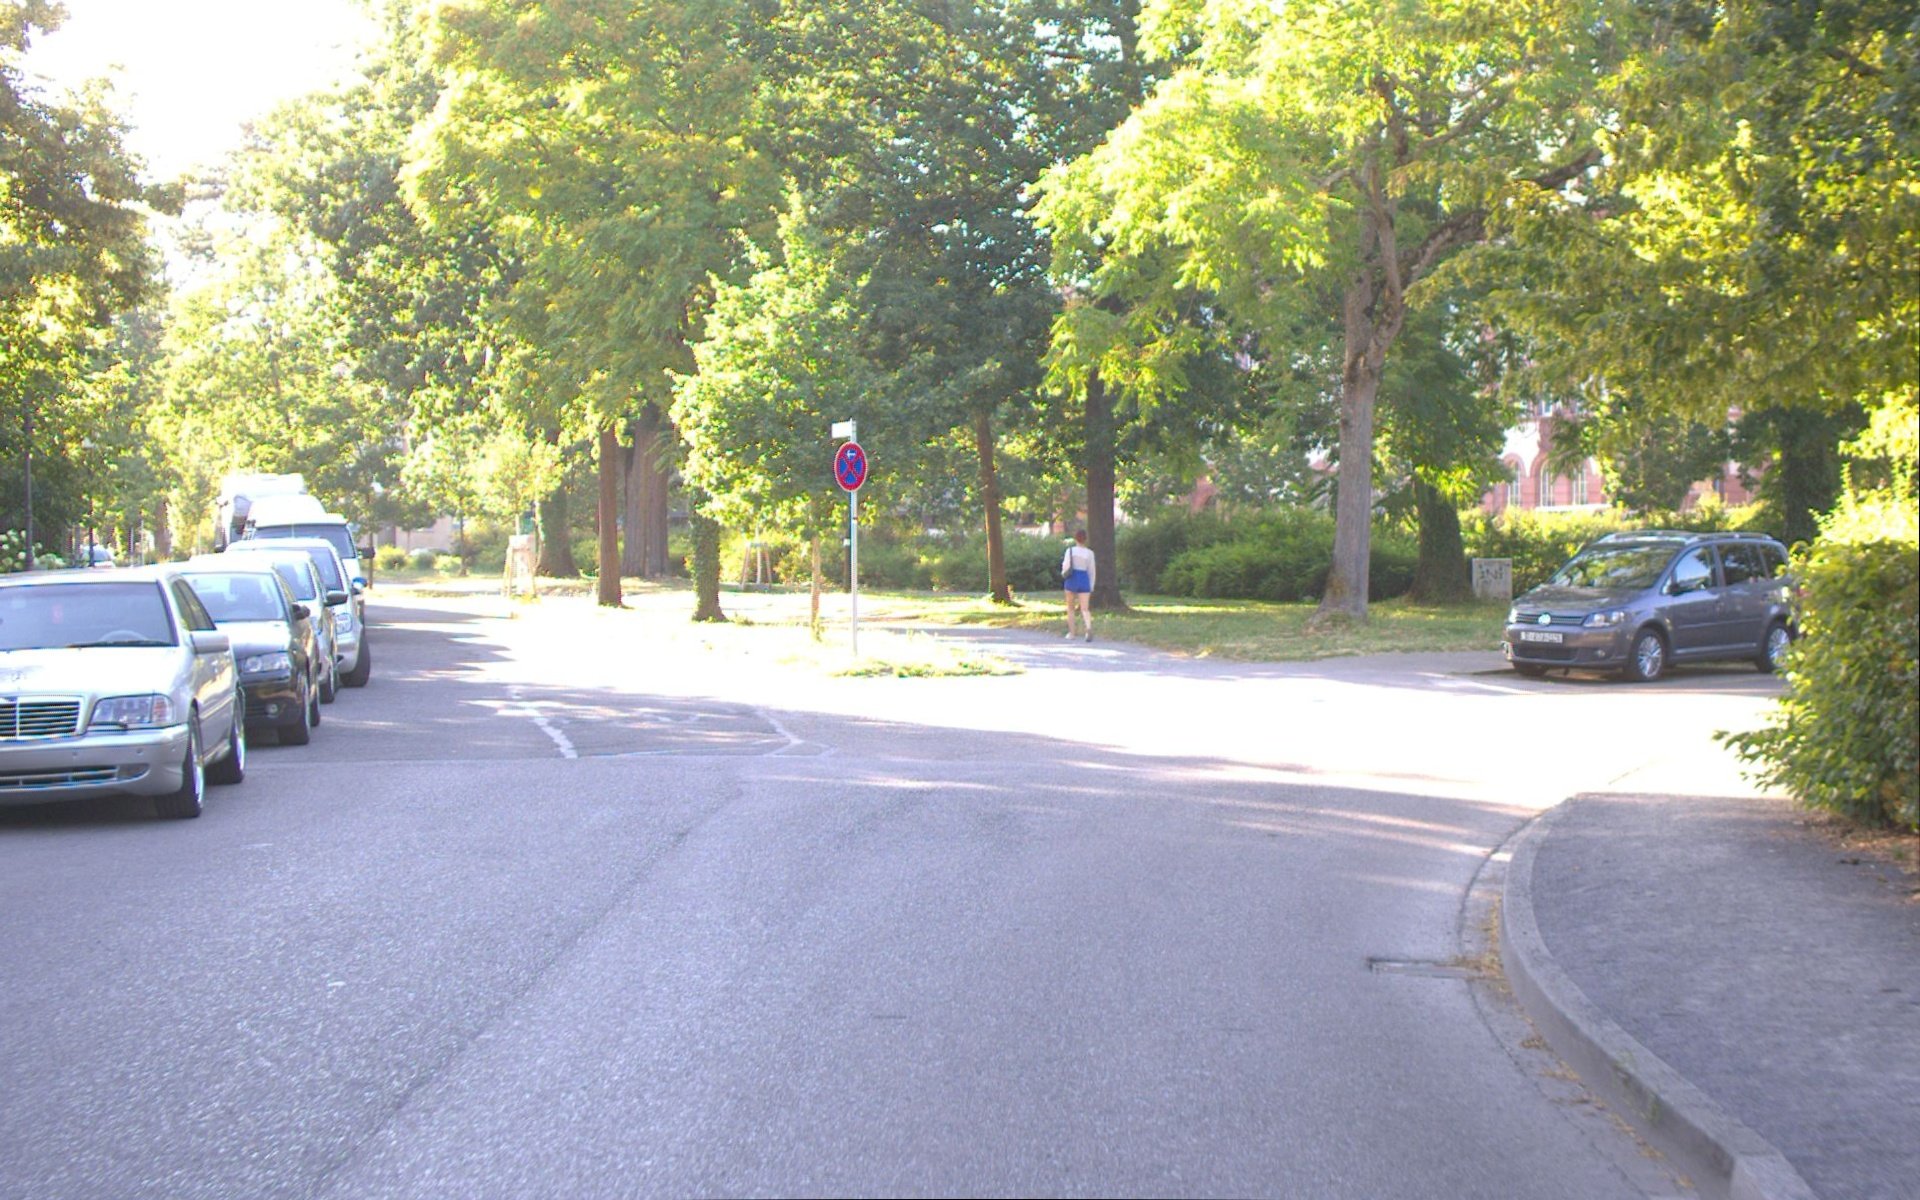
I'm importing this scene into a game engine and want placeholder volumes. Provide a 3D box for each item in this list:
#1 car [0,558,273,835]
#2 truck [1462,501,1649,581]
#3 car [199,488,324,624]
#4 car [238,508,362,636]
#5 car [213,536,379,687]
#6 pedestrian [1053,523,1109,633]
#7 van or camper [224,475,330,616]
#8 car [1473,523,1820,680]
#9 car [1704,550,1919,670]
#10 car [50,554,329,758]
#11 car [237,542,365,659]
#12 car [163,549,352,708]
[{"bbox_3d":[-5.271,0.501,20.610,1.779,1.411,4.499,-2,1,-6],"label":"car"},{"bbox_3d":[23.050,-2.302,133.487,2.604,3.019,8.010,0,1,-30],"label":"truck"},{"bbox_3d":[-12.639,-0.800,62.022,1.850,2.347,5.188,0,1,-15],"label":"car"},{"bbox_3d":[-10.444,-0.469,54.585,1.850,1.939,4.842,0,1,-10],"label":"car"},{"bbox_3d":[-7.266,0.085,37.786,1.704,1.573,3.698,0,1,-10],"label":"car"},{"bbox_3d":[1.742,-0.319,49.695,0.773,1.569,0.768,0,1,0],"label":"pedestrian"},{"bbox_3d":[-14.753,-1.179,74.022,2.089,2.898,6.334,0,1,-12],"label":"van or camper"},{"bbox_3d":[8.030,-0.016,39.997,4.309,1.670,1.807,-1,3,-44],"label":"car"},{"bbox_3d":[11.000,0.102,43.537,3.417,1.418,1.391,-1,3,-44],"label":"car"},{"bbox_3d":[-6.082,0.379,27.559,1.824,1.411,4.496,-2,1,-9],"label":"car"},{"bbox_3d":[-8.819,-0.022,46.164,1.615,1.496,3.698,0,1,-10],"label":"car"},{"bbox_3d":[-6.883,0.240,33.939,1.612,1.435,3.607,-1,1,-9],"label":"car"}]
